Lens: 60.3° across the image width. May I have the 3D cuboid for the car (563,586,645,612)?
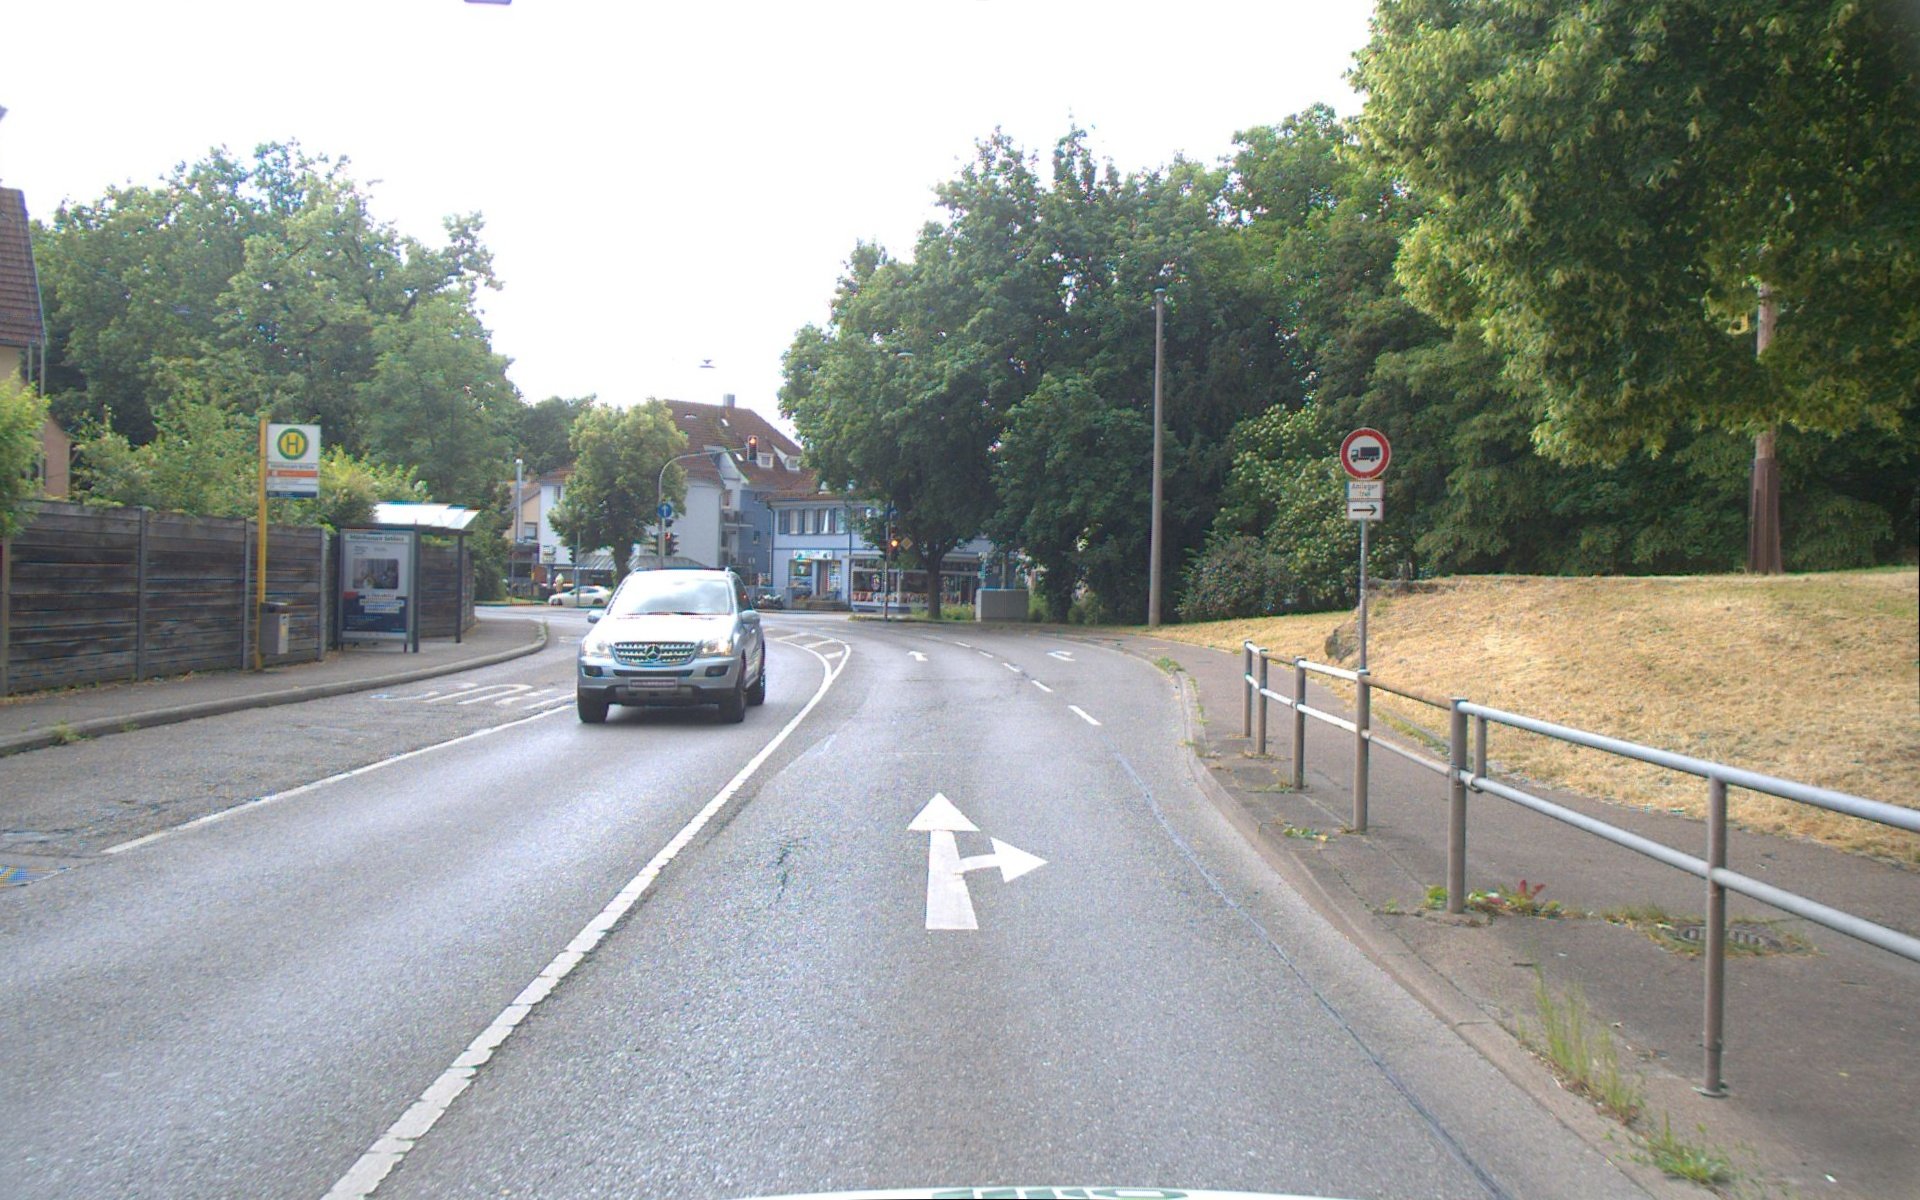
[{"bbox_3d":[-21.543,-0.093,100.165,4.480,1.544,2.002,0,0,13],"label":"car"}]

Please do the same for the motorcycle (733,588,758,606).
[{"bbox_3d":[-14.021,-0.197,108.059,1.463,1.126,0.561,0,5,12],"label":"motorcycle"}]

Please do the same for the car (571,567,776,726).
[{"bbox_3d":[-3.411,0.494,20.559,1.896,1.754,4.690,0,0,-2],"label":"car"}]

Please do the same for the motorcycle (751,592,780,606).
[{"bbox_3d":[-12.566,-0.050,106.855,1.797,0.862,0.561,0,5,15],"label":"motorcycle"}]
